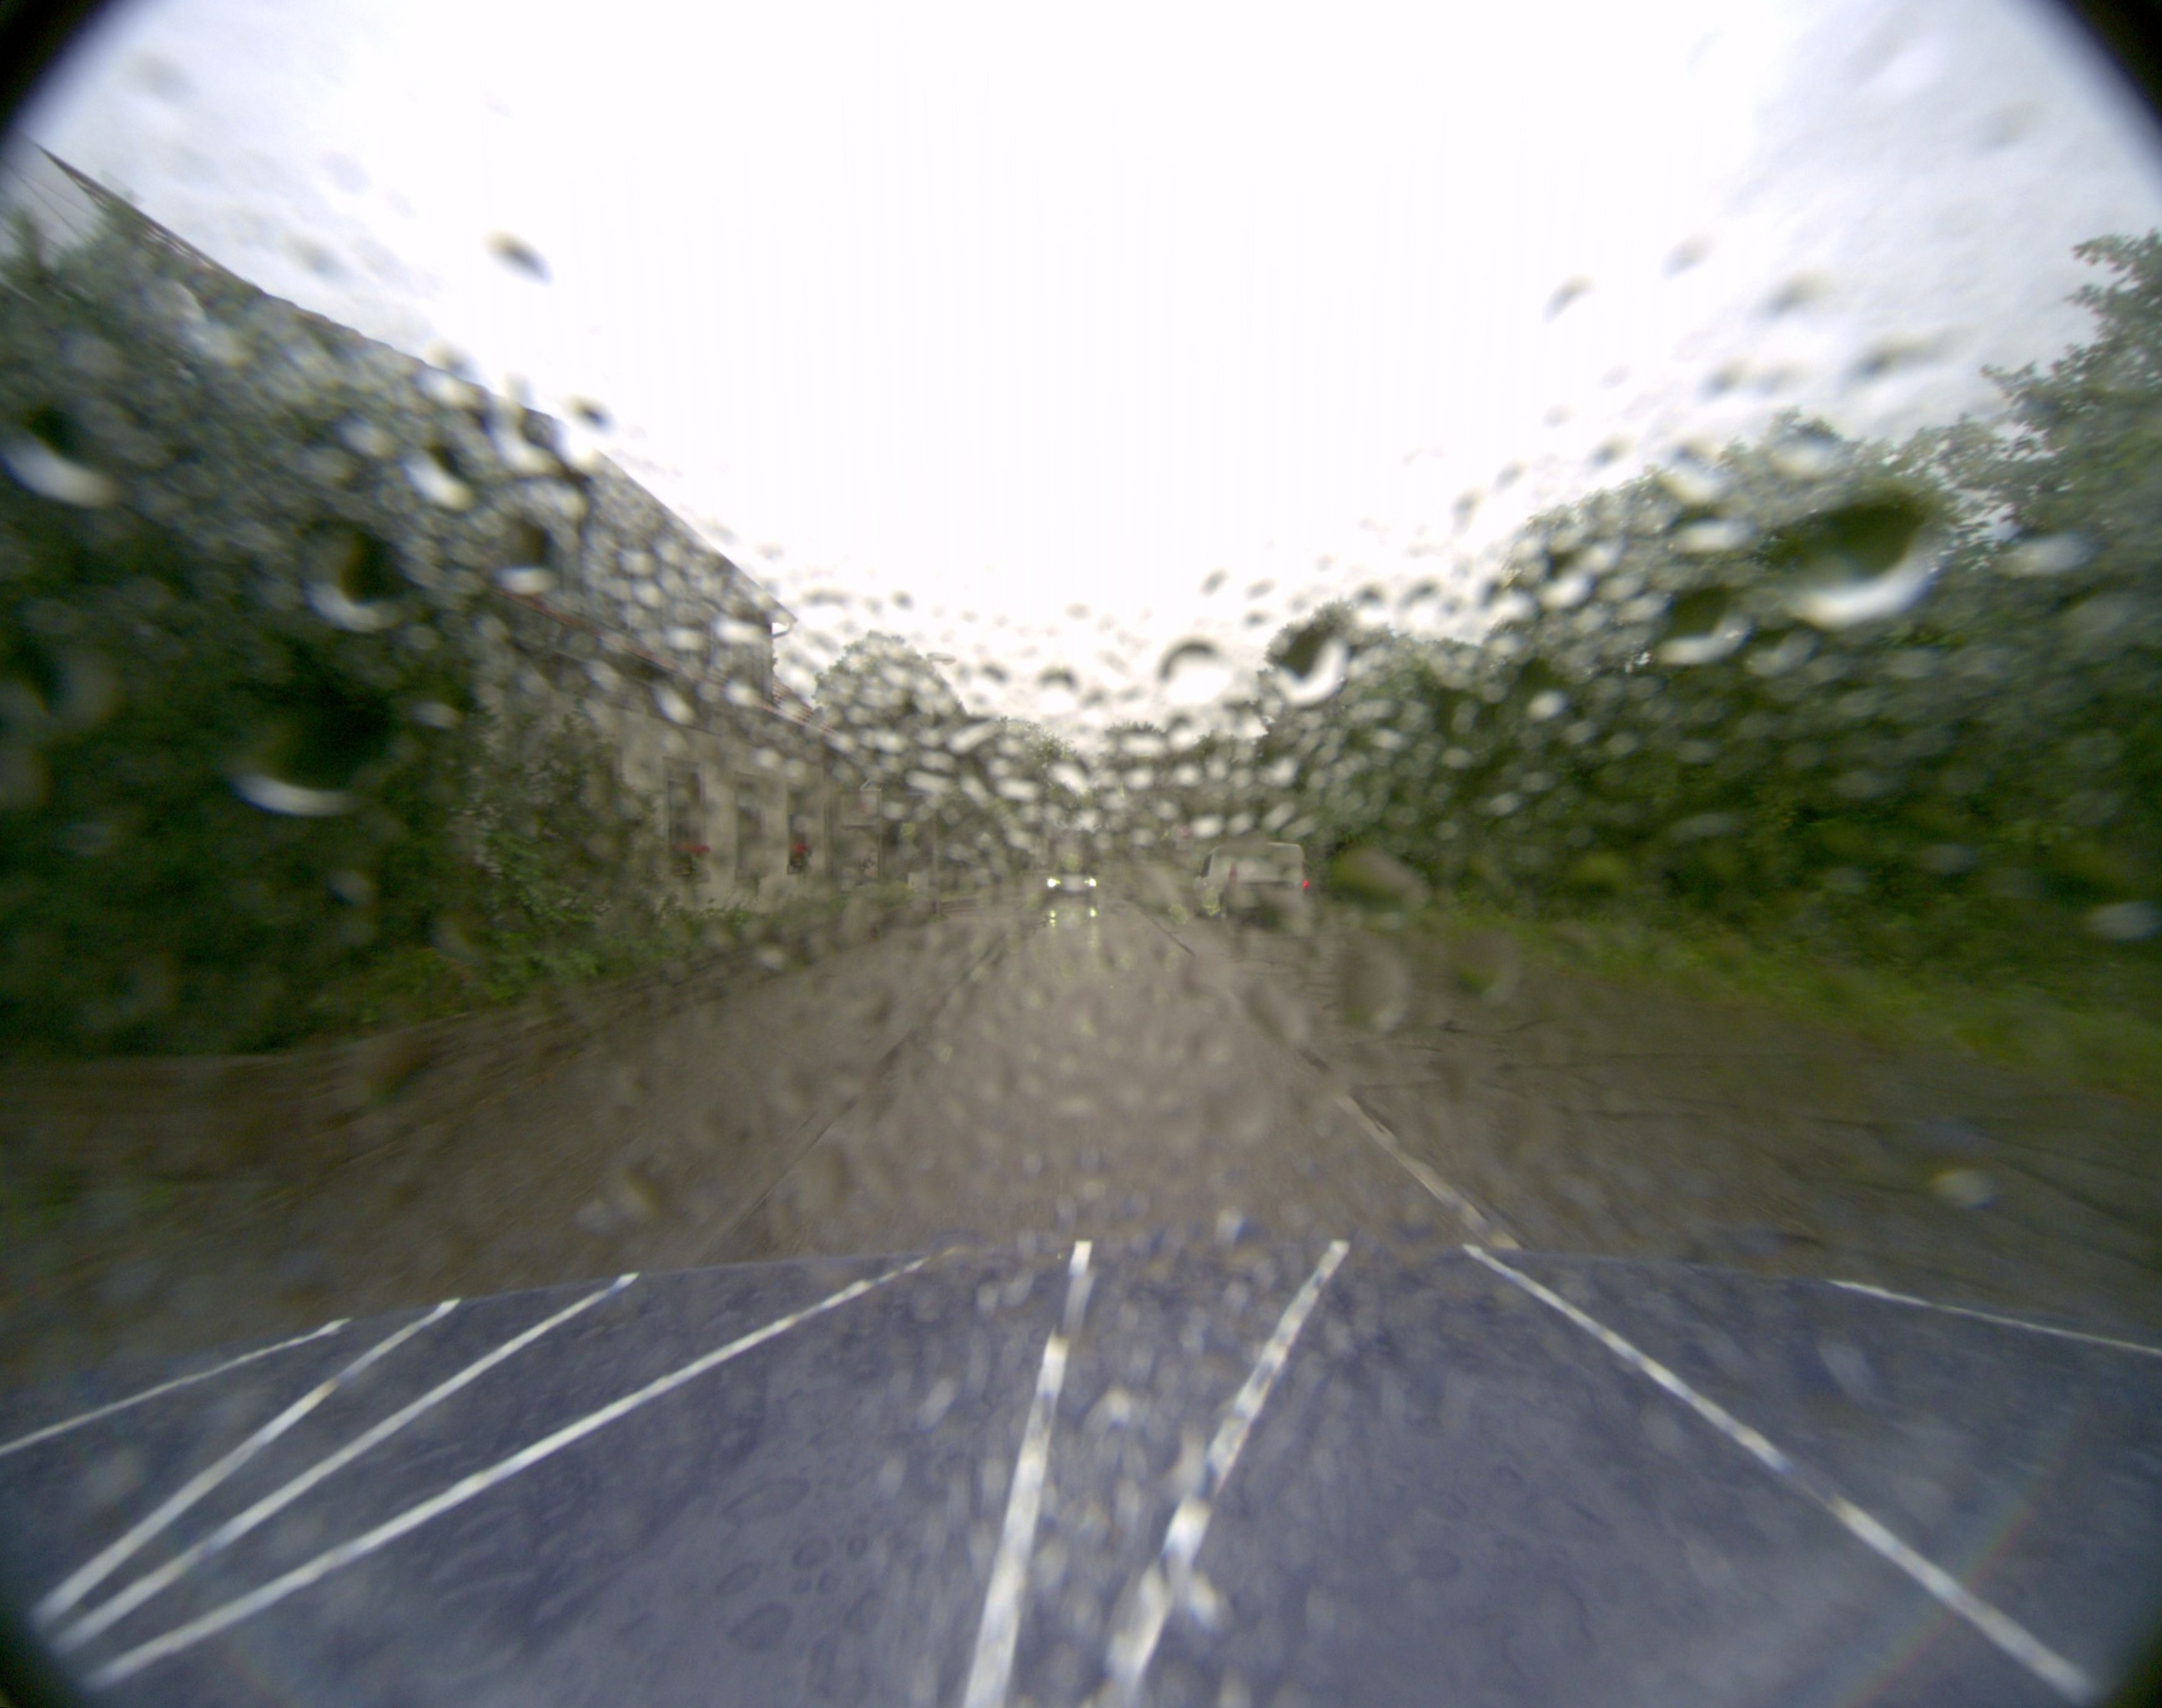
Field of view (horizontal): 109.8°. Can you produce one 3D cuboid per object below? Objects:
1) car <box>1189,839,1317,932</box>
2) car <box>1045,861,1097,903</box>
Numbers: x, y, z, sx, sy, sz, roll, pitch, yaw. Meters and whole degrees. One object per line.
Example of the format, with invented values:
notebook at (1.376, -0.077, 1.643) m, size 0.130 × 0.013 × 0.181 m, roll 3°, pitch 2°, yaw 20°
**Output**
car at (3.865, 0.648, 17.784) m, size 1.837 × 1.853 × 3.953 m, roll -2°, pitch 0°, yaw -4°
car at (-0.295, 0.994, 28.362) m, size 1.766 × 1.316 × 4.549 m, roll -2°, pitch 0°, yaw 1°
